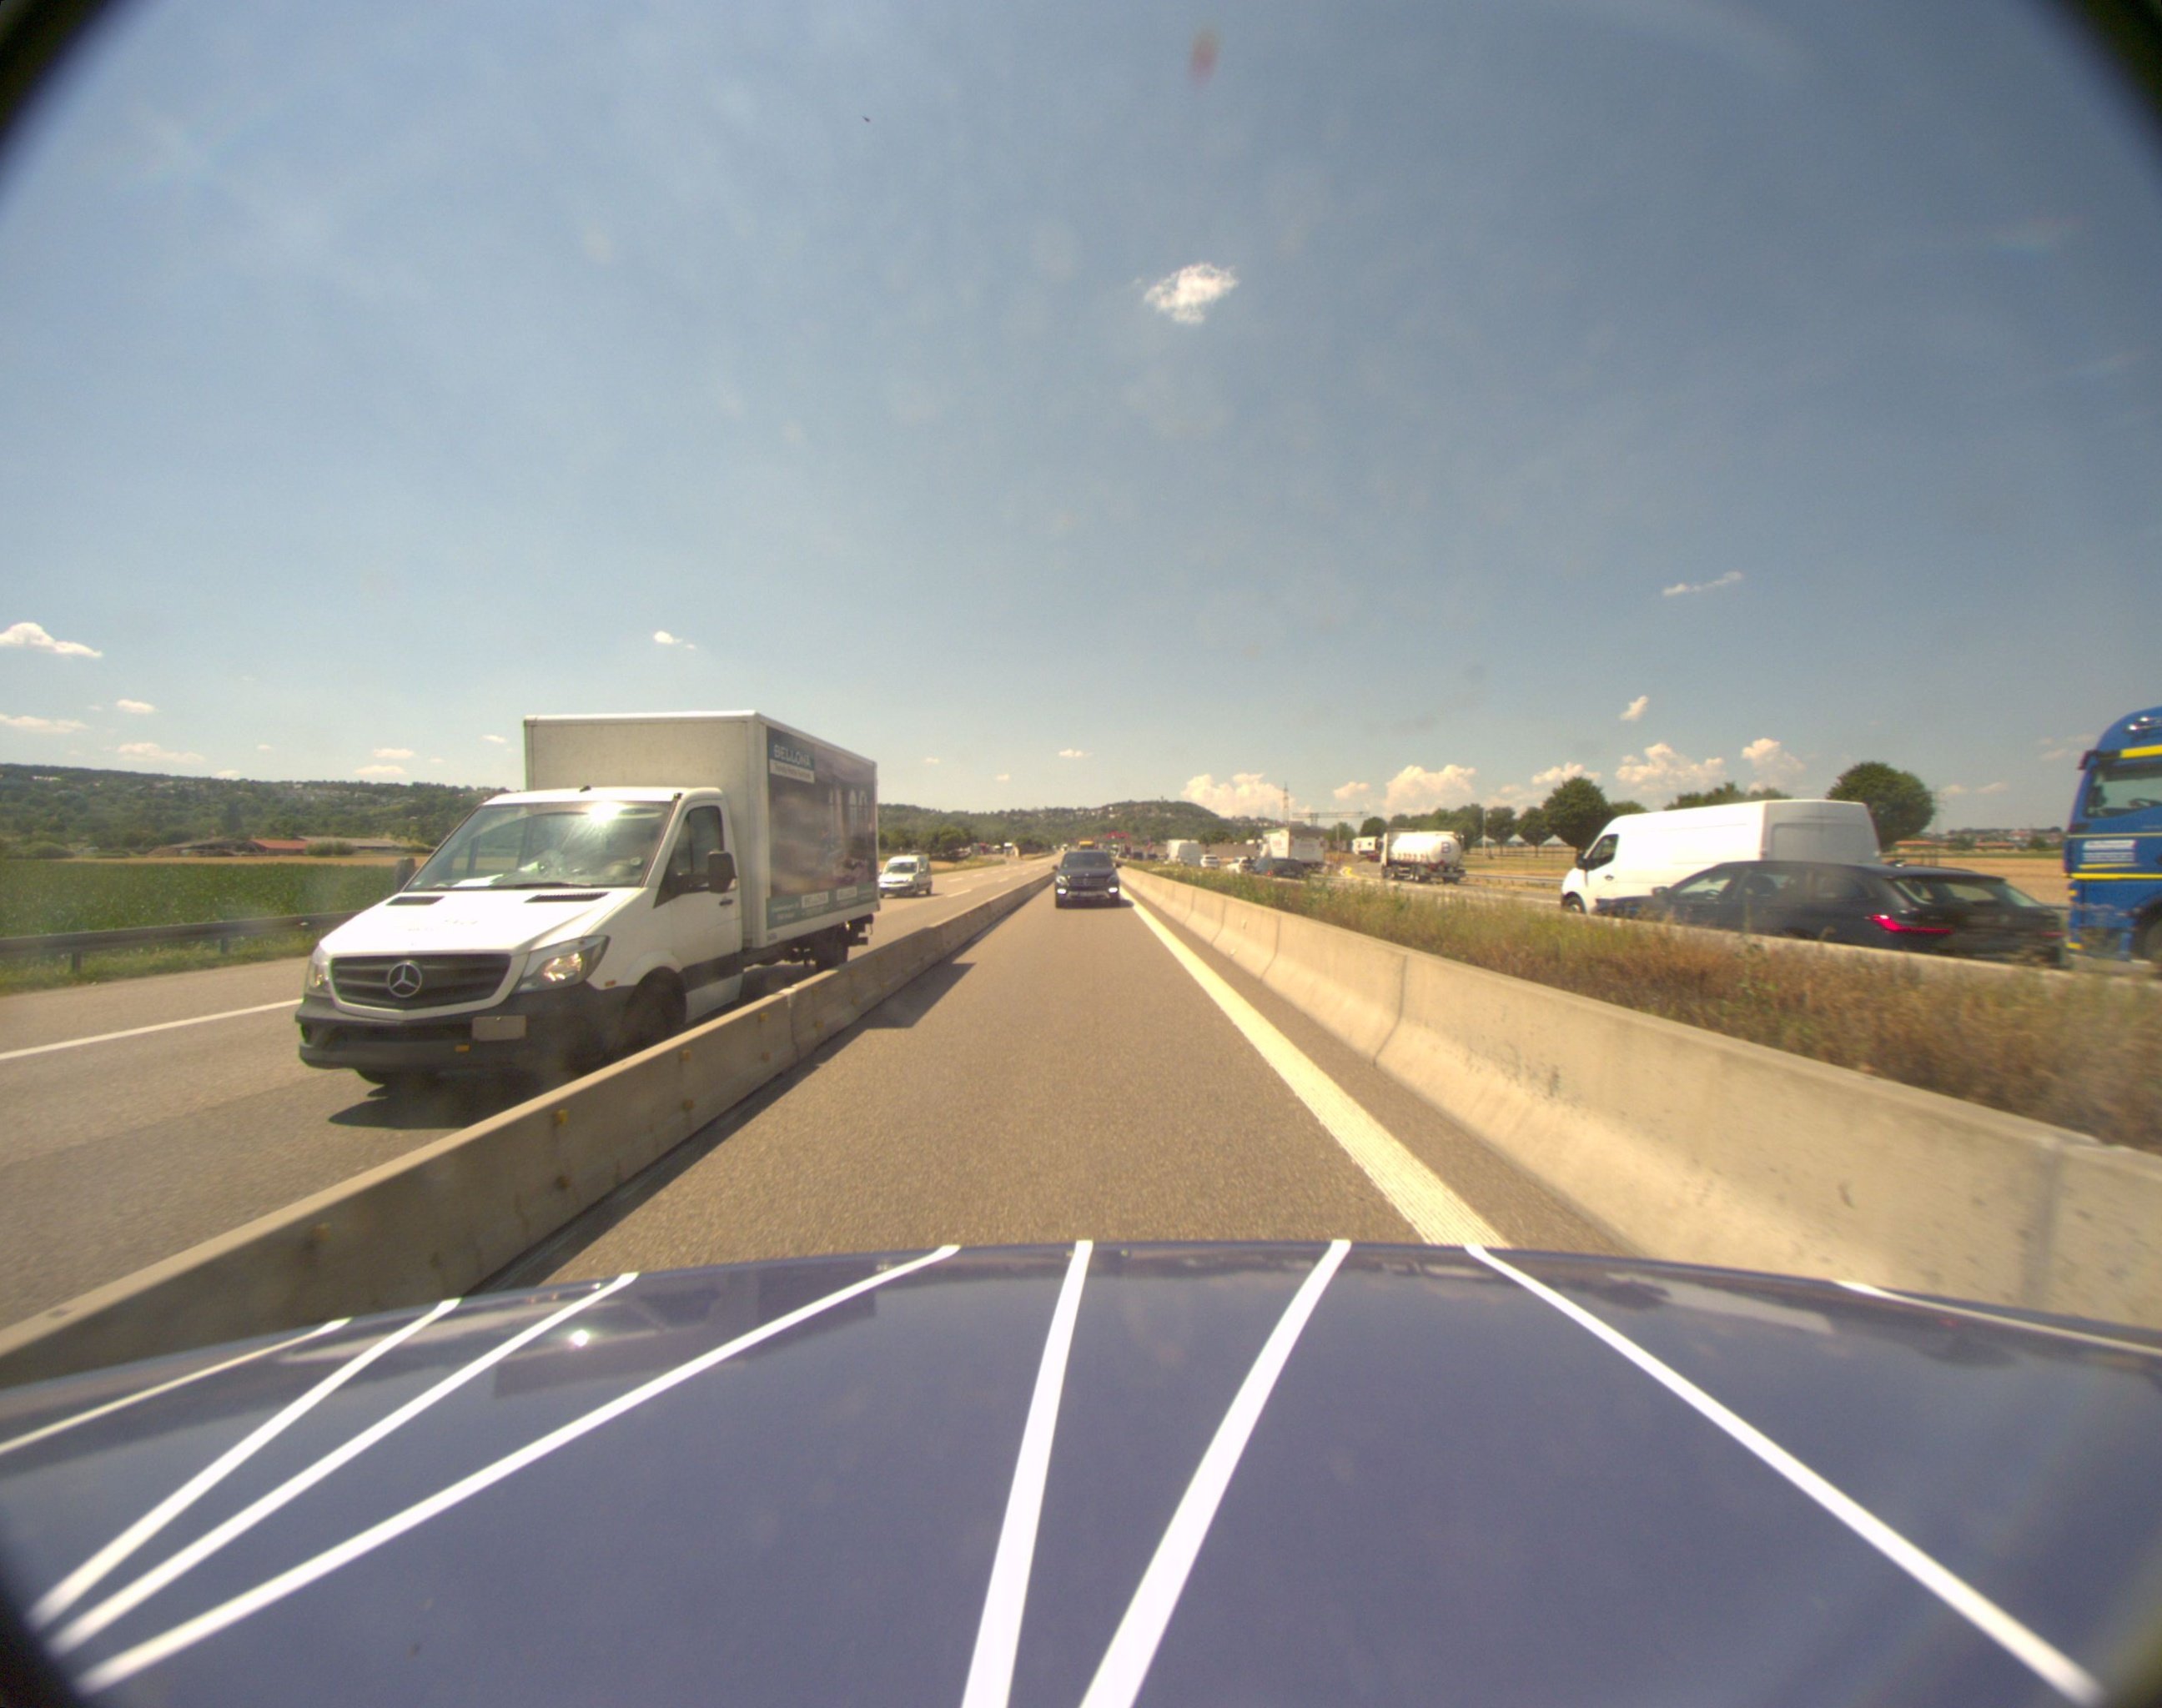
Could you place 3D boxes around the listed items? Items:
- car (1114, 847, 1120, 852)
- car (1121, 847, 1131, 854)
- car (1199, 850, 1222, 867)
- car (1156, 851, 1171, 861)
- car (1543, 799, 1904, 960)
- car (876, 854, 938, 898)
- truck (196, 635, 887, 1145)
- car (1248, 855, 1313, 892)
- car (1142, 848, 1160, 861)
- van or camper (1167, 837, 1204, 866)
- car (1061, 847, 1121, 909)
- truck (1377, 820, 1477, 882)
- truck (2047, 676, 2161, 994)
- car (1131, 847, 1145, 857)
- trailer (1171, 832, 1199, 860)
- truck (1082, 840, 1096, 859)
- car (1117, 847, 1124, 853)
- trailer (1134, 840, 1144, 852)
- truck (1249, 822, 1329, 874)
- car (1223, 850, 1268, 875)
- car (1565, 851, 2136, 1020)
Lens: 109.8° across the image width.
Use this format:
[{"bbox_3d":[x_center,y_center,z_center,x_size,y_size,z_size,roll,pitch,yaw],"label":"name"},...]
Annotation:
[{"bbox_3d":[10.781,-1.296,227.914,1.659,1.510,3.999,-1,1,1],"label":"car"},{"bbox_3d":[10.009,-0.772,169.606,1.895,1.608,4.820,-1,1,1],"label":"car"},{"bbox_3d":[12.821,0.432,75.187,1.563,1.613,4.044,0,0,0],"label":"car"},{"bbox_3d":[12.983,0.372,119.415,1.851,1.474,4.921,2,0,1],"label":"car"},{"bbox_3d":[11.713,0.397,14.671,2.052,2.486,5.812,0,0,0],"label":"car"},{"bbox_3d":[-7.422,0.900,32.737,1.630,1.727,3.973,-2,0,1],"label":"car"},{"bbox_3d":[-4.168,0.241,8.029,2.326,3.049,6.751,-2,0,1],"label":"truck"},{"bbox_3d":[8.406,0.765,32.327,1.601,1.460,4.533,0,0,0],"label":"car"},{"bbox_3d":[8.521,0.070,92.266,1.786,1.580,4.541,-1,0,1],"label":"car"},{"bbox_3d":[8.580,-0.241,63.096,2.040,2.208,7.207,-2,0,0],"label":"van or camper"},{"bbox_3d":[0.327,0.693,23.465,1.630,1.711,3.865,-2,0,1],"label":"car"},{"bbox_3d":[23.896,-0.189,53.500,2.904,3.755,13.298,2,0,9],"label":"truck"},{"bbox_3d":[15.342,-0.247,8.530,2.817,4.104,4.841,0,0,0],"label":"truck"},{"bbox_3d":[9.064,-0.290,121.120,1.848,1.560,5.344,-1,0,1],"label":"car"},{"bbox_3d":[17.130,-1.323,125.724,2.900,4.350,12.992,1,1,1],"label":"trailer"},{"bbox_3d":[1.381,-0.794,131.480,2.272,3.139,8.185,-2,1,1],"label":"truck"},{"bbox_3d":[10.114,-1.042,194.693,1.679,1.510,4.507,-1,1,1],"label":"car"},{"bbox_3d":[18.407,-2.488,241.123,2.654,3.851,6.616,0,1,1],"label":"trailer"},{"bbox_3d":[16.105,-0.462,60.080,2.801,3.588,13.288,2,0,1],"label":"truck"},{"bbox_3d":[11.674,0.575,54.182,1.891,1.700,5.521,1,0,-1],"label":"car"},{"bbox_3d":[8.186,0.695,8.996,1.783,1.327,4.928,-2,1,0],"label":"car"}]
